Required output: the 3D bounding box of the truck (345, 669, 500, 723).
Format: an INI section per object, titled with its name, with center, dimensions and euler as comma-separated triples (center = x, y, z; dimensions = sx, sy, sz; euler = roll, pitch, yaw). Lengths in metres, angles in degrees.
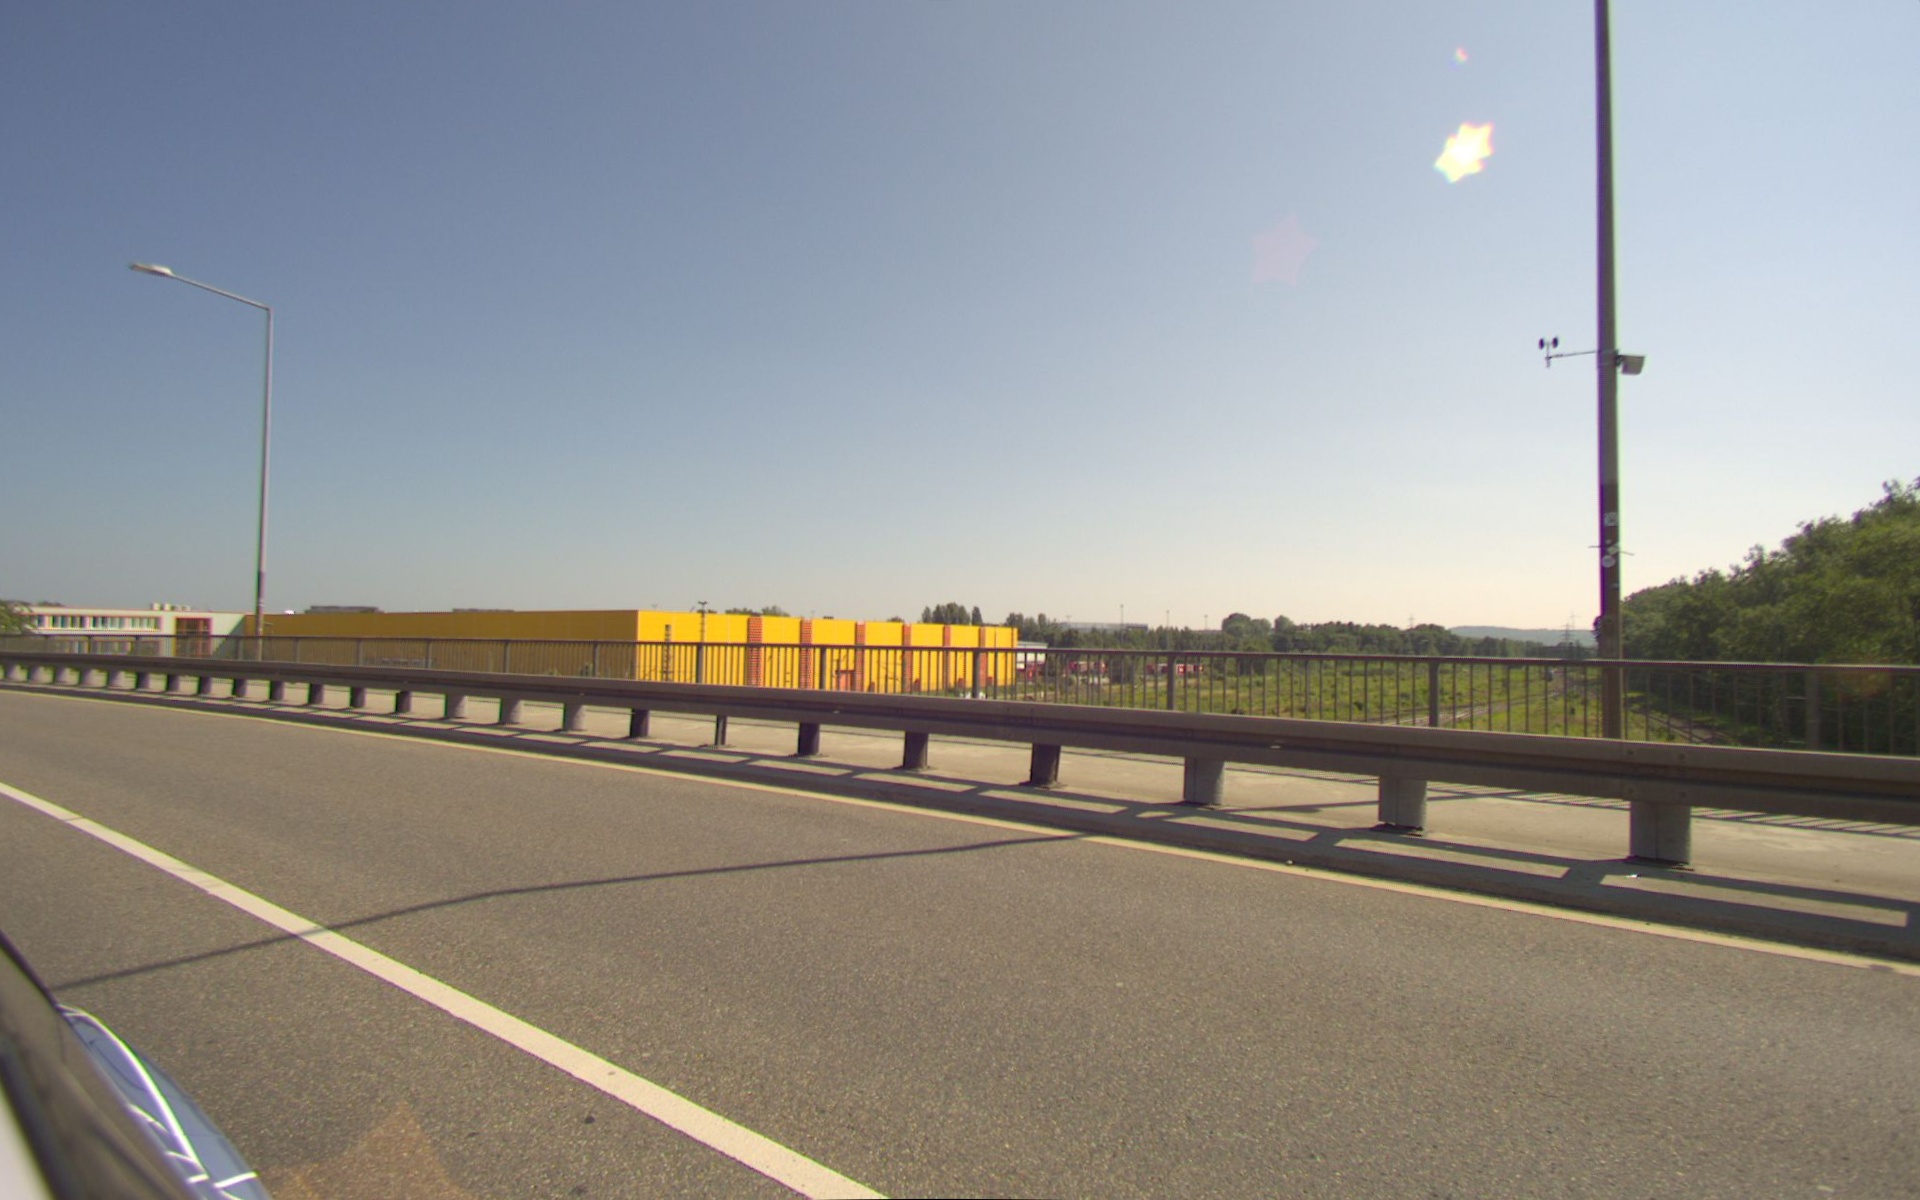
[truck]
center = -68.992, 12.156, 130.798
dimensions = 5.949, 5.720, 17.379
euler = 0, -1, 28
